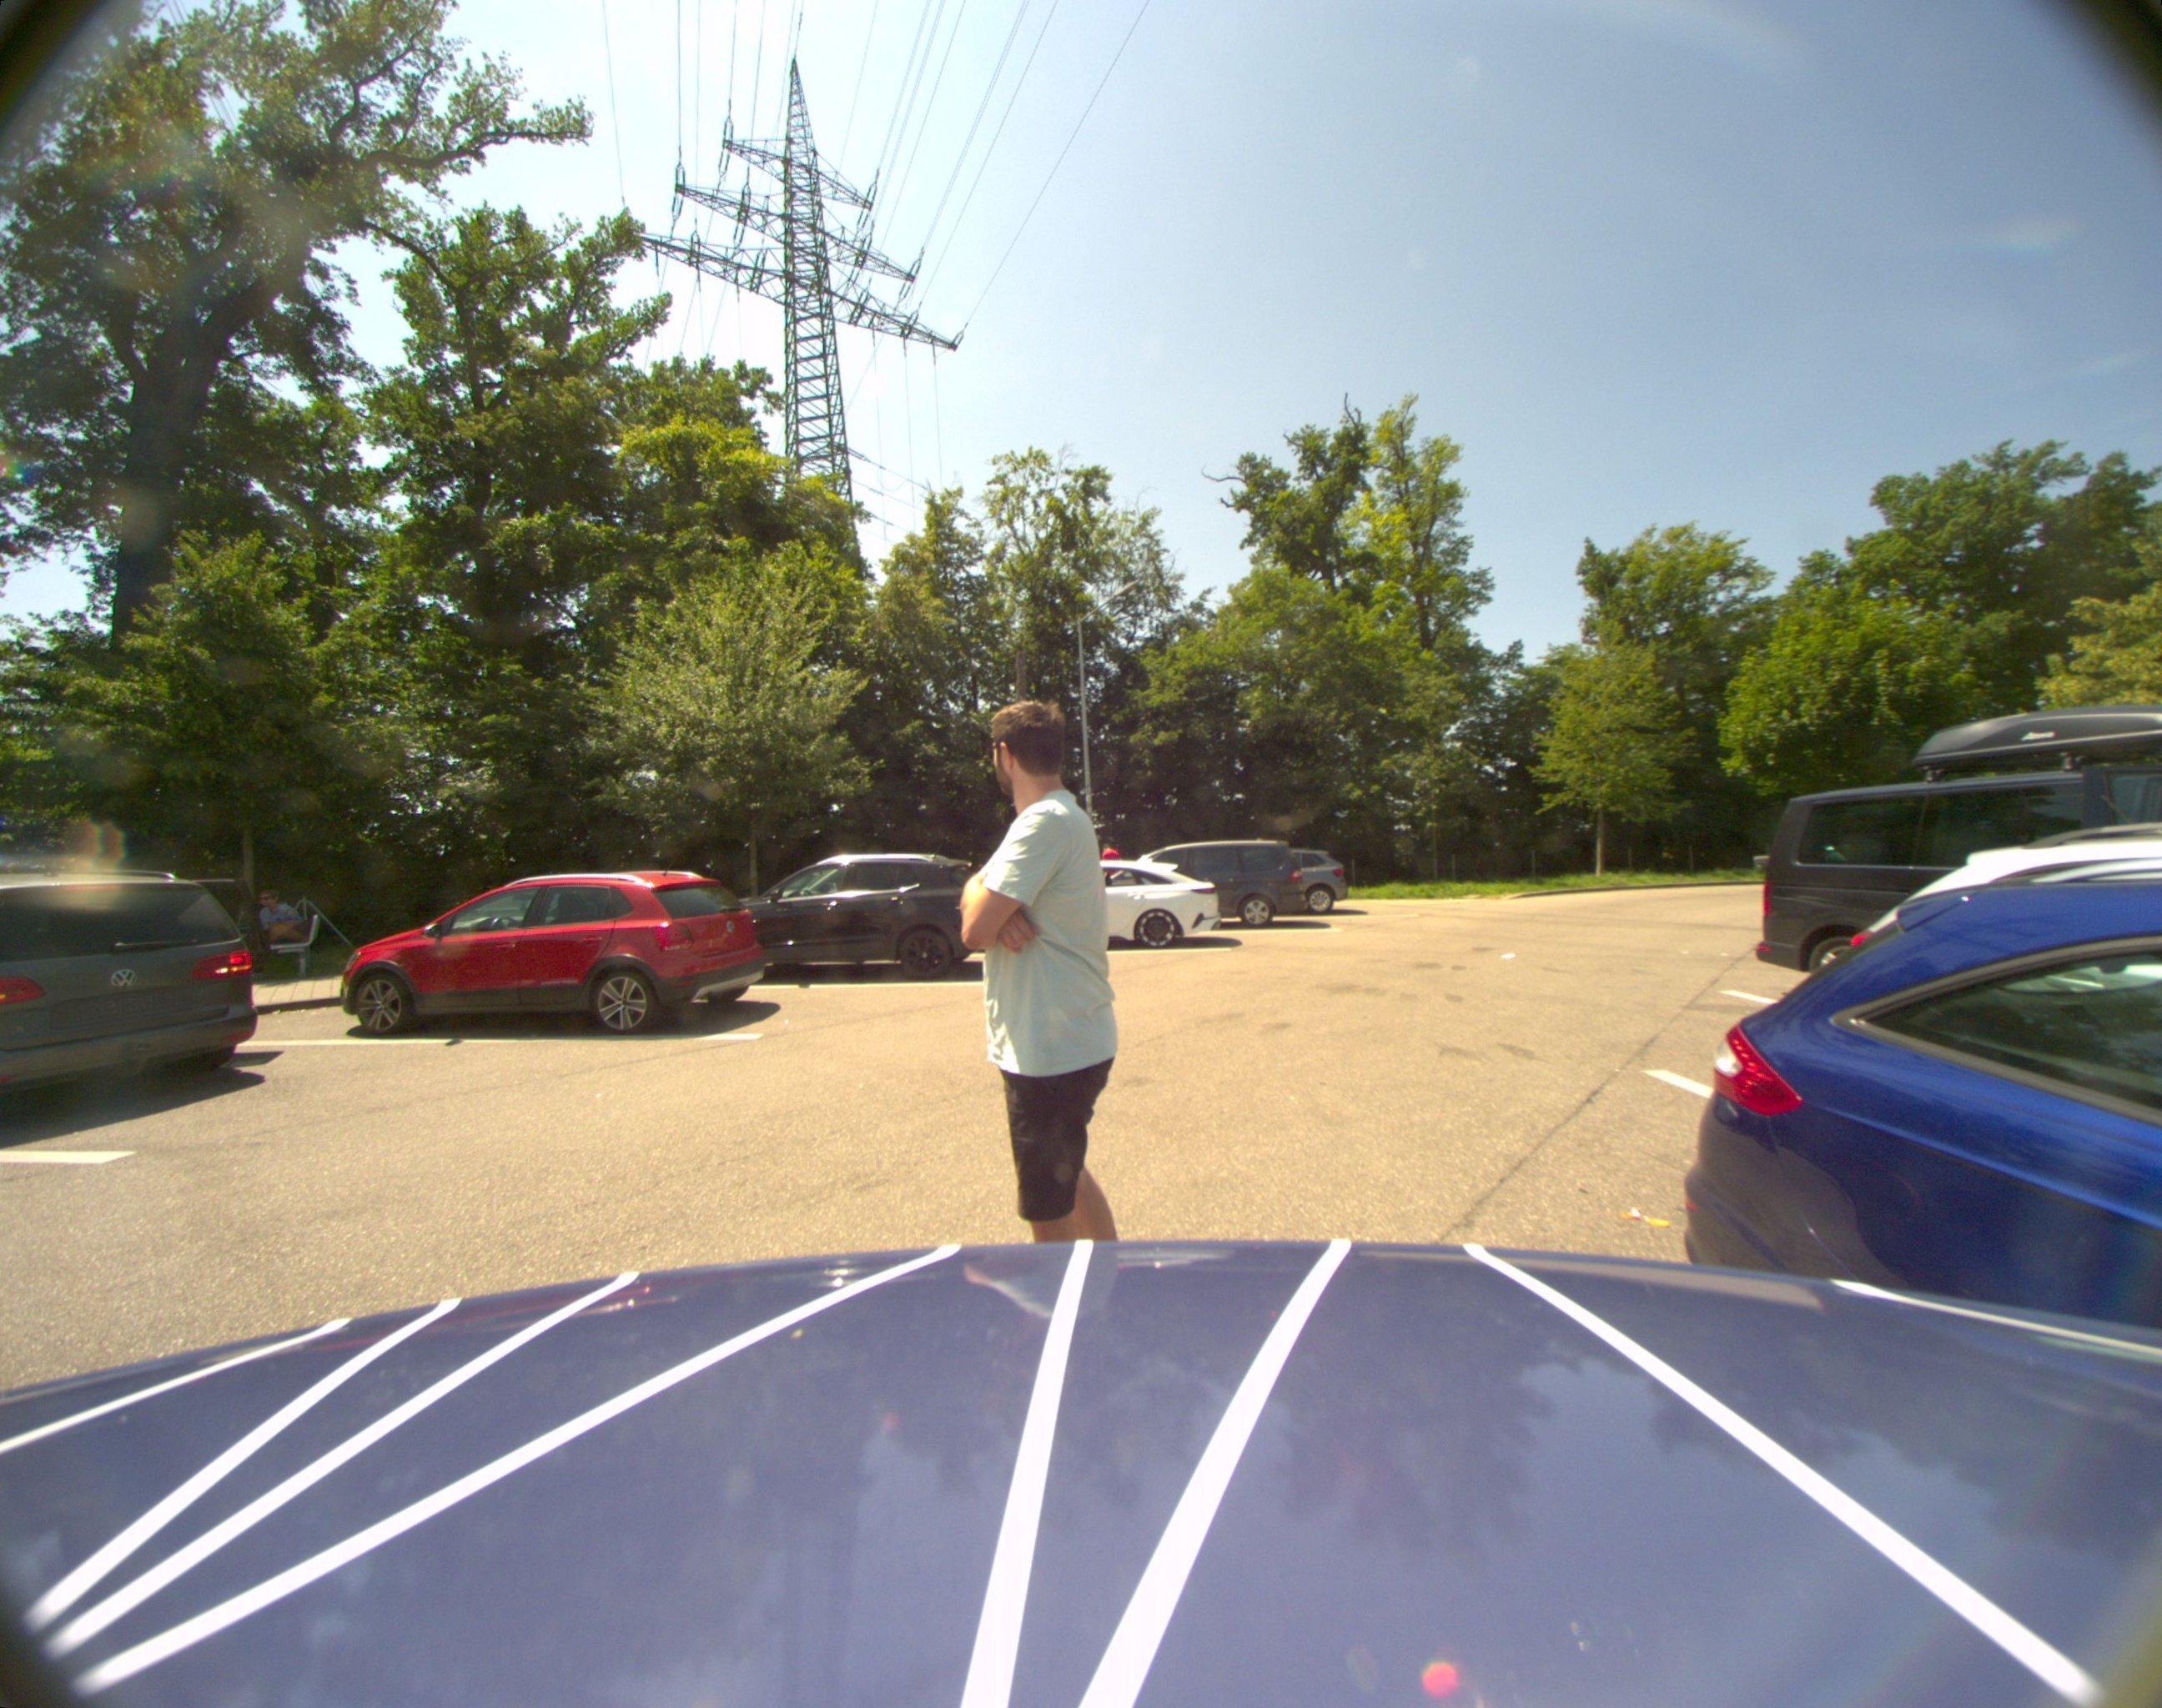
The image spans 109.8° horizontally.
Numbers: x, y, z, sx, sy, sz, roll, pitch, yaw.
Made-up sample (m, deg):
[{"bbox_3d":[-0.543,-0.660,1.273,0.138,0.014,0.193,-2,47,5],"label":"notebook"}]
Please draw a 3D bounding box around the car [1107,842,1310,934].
[{"bbox_3d":[2.574,0.664,15.463,3.818,1.714,1.722,-1,1,12],"label":"car"}]

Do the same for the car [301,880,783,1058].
[{"bbox_3d":[-5.252,1.061,7.660,3.785,1.457,1.722,-1,1,9],"label":"car"}]

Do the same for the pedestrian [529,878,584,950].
[{"bbox_3d":[-10.031,1.132,14.528,0.782,1.287,0.670,-1,2,45],"label":"pedestrian"}]

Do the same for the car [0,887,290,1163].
[{"bbox_3d":[-8.304,1.100,5.450,3.985,1.572,1.749,-1,1,12],"label":"car"}]

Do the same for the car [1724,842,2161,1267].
[{"bbox_3d":[4.861,0.722,2.295,1.741,1.524,4.642,-3,-1,-2],"label":"car"}]

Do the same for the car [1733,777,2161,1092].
[{"bbox_3d":[7.309,0.435,4.925,1.961,1.858,4.642,-3,-1,-3],"label":"car"}]

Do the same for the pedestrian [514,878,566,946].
[{"bbox_3d":[-10.911,1.157,15.314,0.782,1.287,0.670,-1,2,45],"label":"pedestrian"}]

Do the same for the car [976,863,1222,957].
[{"bbox_3d":[0.351,0.895,12.737,3.819,1.377,1.722,-1,1,6],"label":"car"}]

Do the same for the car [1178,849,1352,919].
[{"bbox_3d":[4.326,0.687,18.166,3.818,1.530,1.722,-1,1,12],"label":"car"}]

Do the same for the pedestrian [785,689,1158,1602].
[{"bbox_3d":[-0.196,0.594,2.013,0.621,1.831,0.891,-2,1,13],"label":"pedestrian"}]

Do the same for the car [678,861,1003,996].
[{"bbox_3d":[-3.079,0.932,10.271,3.787,1.564,1.721,-1,1,2],"label":"car"}]
